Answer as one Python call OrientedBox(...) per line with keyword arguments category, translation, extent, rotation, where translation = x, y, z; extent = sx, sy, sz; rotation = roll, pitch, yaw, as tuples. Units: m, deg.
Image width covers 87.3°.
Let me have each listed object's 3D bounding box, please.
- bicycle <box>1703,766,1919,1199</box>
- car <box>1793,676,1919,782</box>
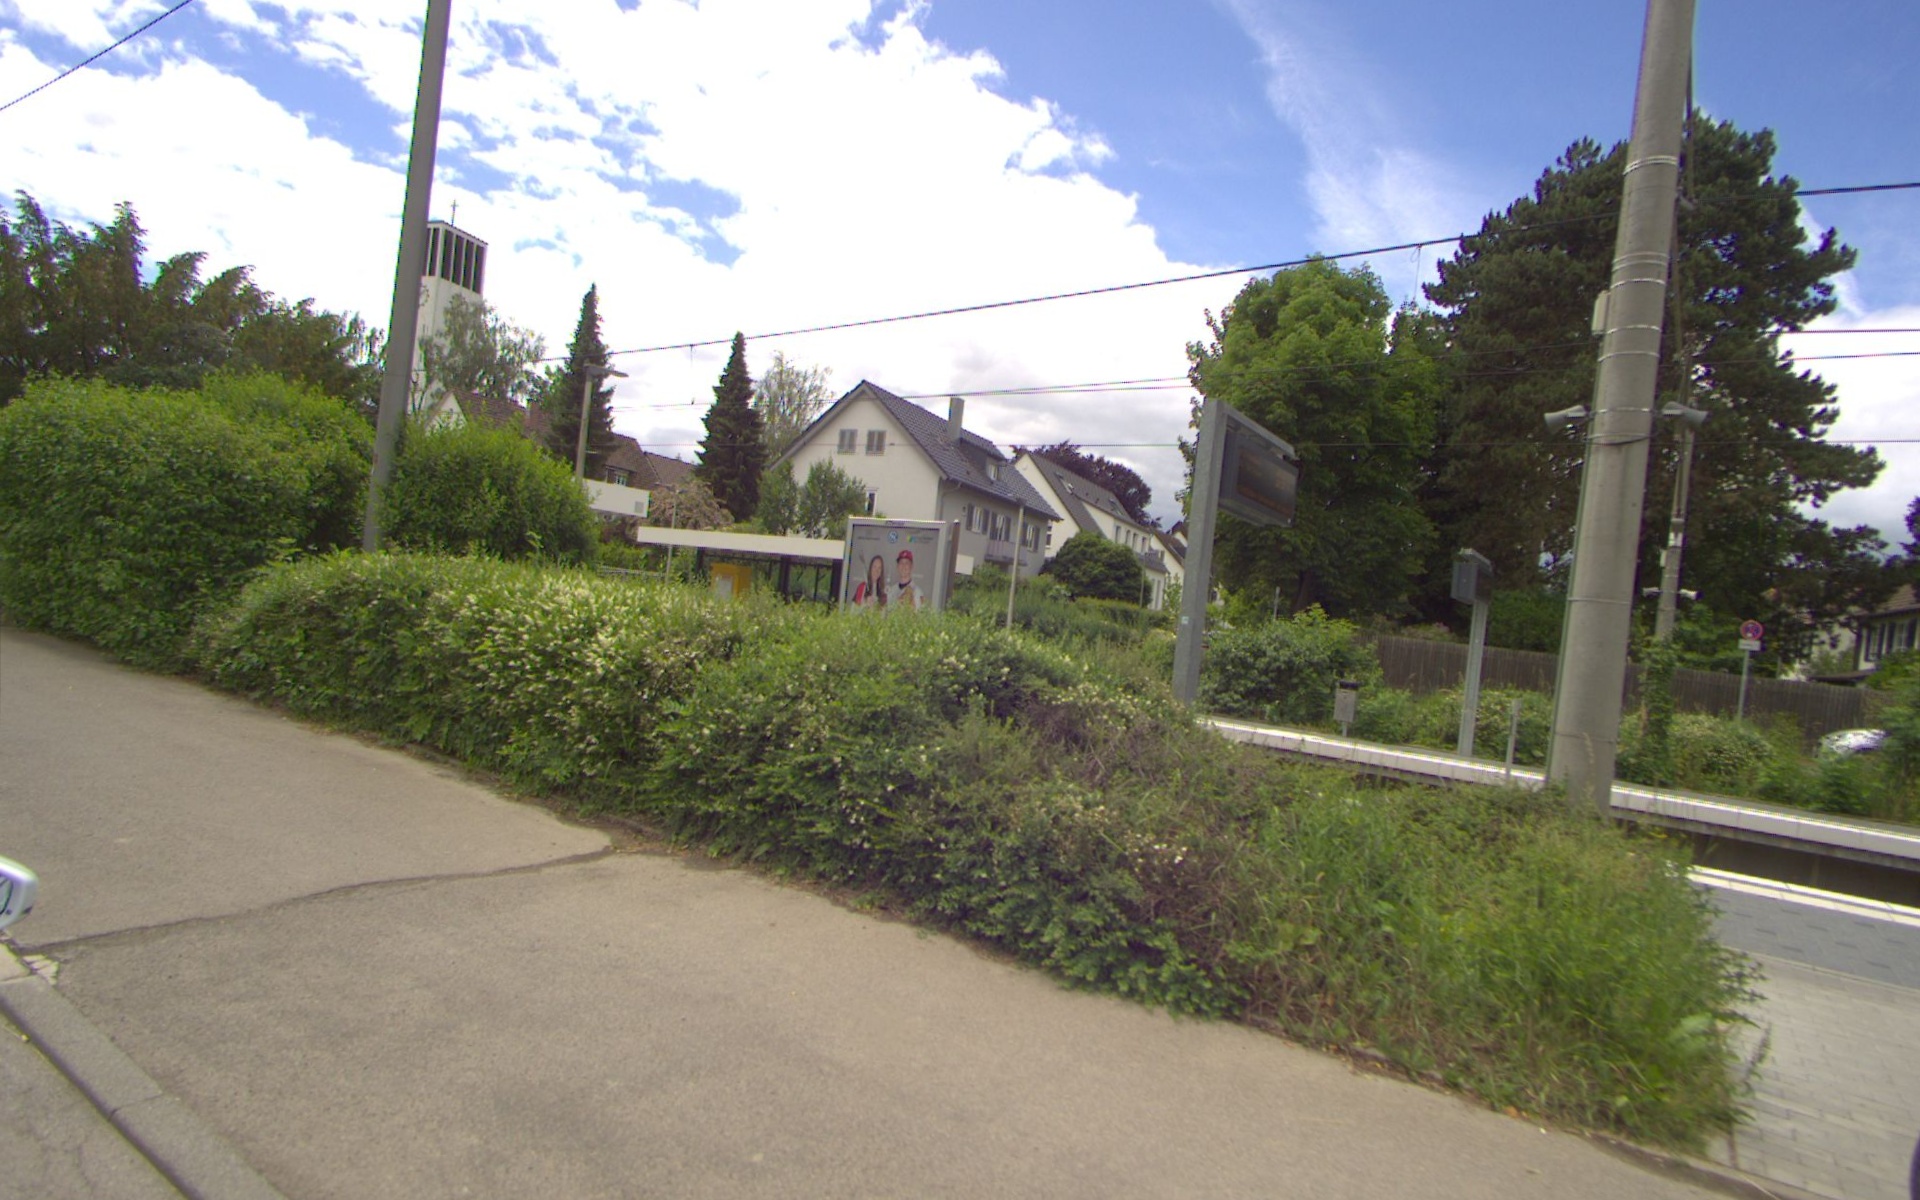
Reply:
OrientedBox(category="bicycle", translation=(3.097, 1.209, 2.062), extent=(2.355, 1.261, 0.619), rotation=(7, 0, 31))
OrientedBox(category="car", translation=(18.935, 2.667, 19.649), extent=(3.876, 1.772, 1.732), rotation=(7, -1, 38))
